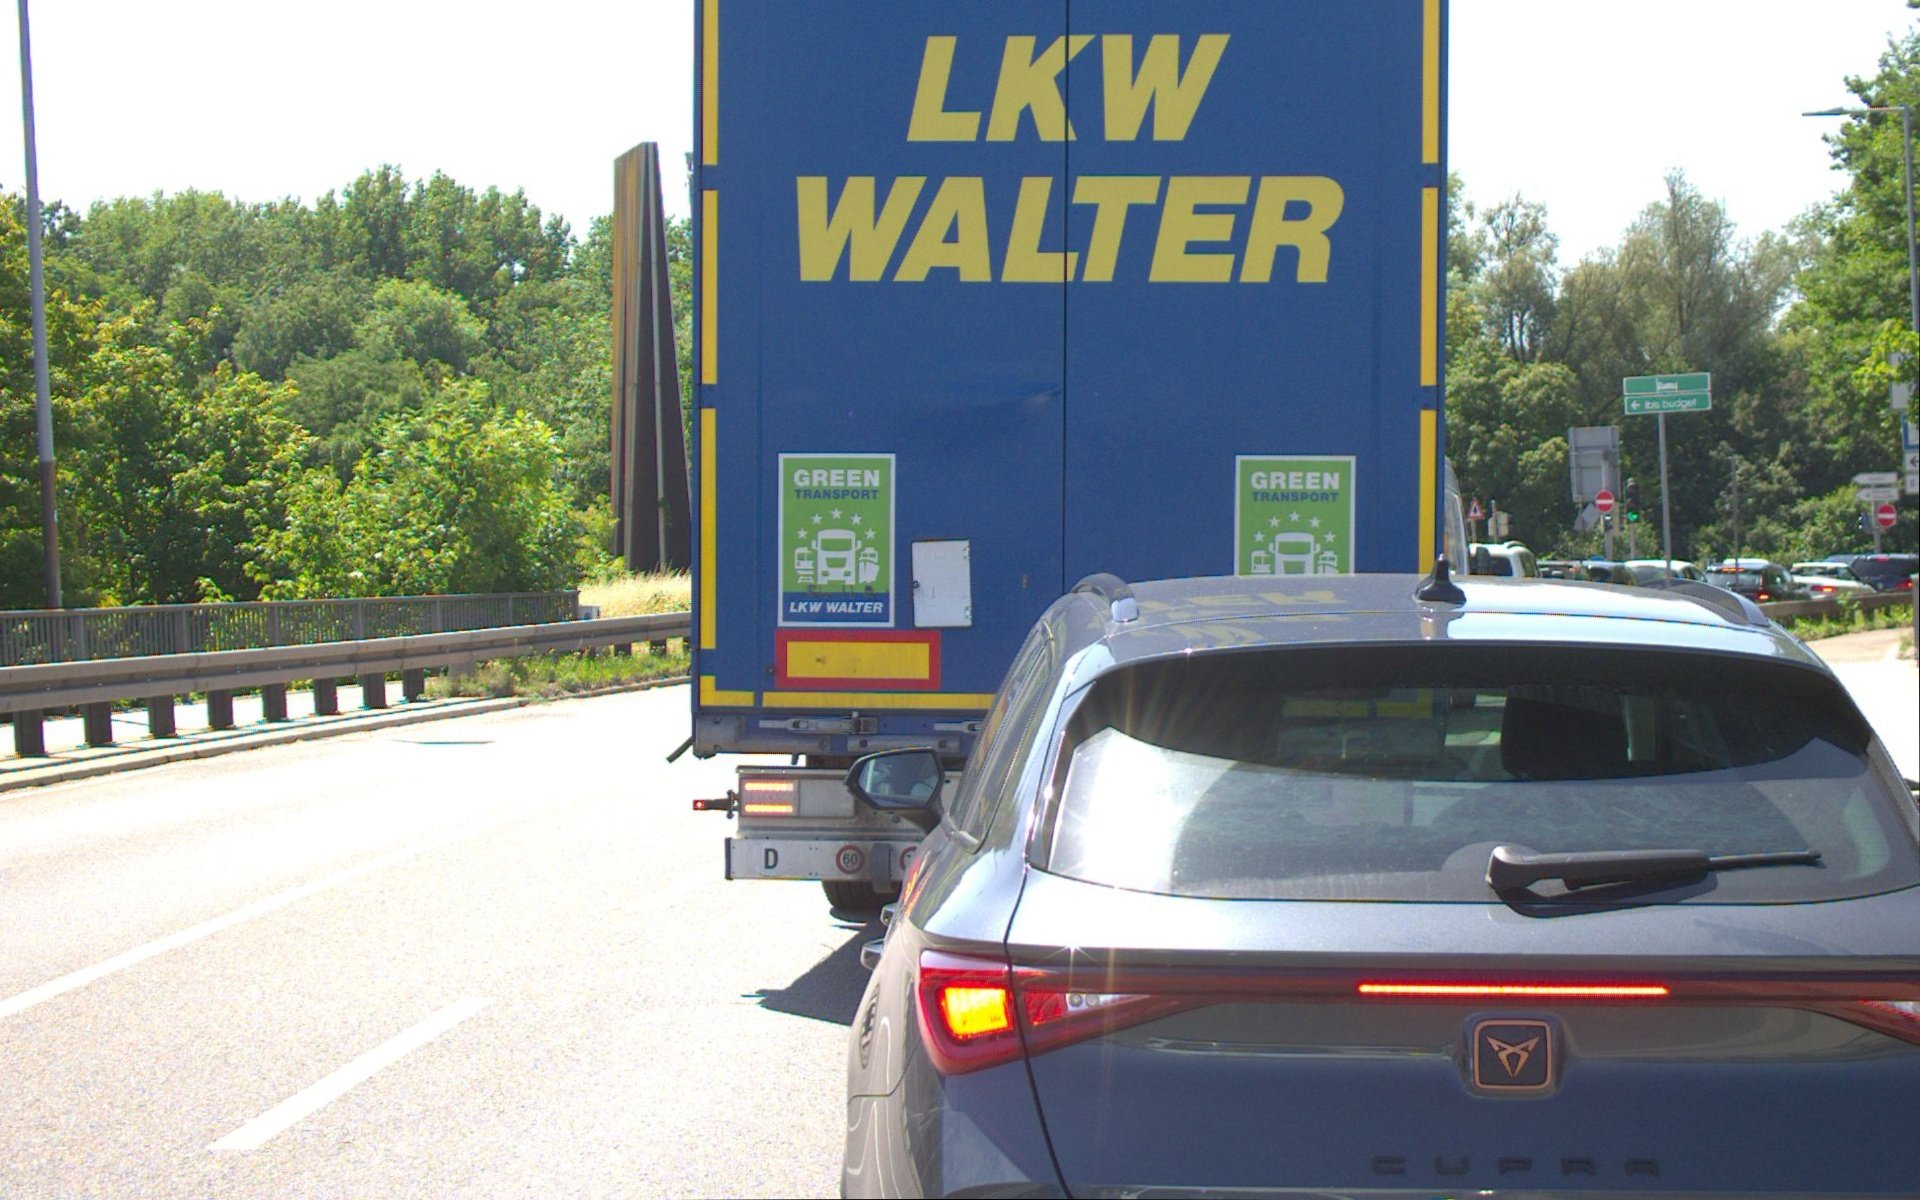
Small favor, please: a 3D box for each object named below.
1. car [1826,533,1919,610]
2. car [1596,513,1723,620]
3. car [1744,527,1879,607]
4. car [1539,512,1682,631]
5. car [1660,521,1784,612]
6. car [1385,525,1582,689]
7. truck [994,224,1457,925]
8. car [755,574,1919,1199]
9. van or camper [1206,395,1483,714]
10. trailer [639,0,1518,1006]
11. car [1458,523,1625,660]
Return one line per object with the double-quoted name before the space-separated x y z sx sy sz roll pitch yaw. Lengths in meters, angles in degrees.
"car" 21.572 -0.660 80.243 1.688 1.754 3.994 0 0 28
"car" 12.541 -0.625 61.495 1.722 1.837 3.996 0 1 19
"car" 18.458 -0.696 74.402 1.996 1.570 3.994 2 0 26
"car" 10.504 -0.491 55.344 1.722 1.837 3.996 0 1 19
"car" 15.123 -0.656 68.147 1.687 1.754 3.995 0 0 23
"car" 6.285 0.034 40.990 1.722 1.837 3.997 0 2 18
"truck" 2.087 -0.227 25.042 2.905 4.403 6.554 0 1 7
"car" 0.663 0.696 5.932 1.677 1.451 3.958 0 1 2
"van or camper" 3.873 -0.463 33.607 2.155 2.806 6.384 0 1 11
"trailer" 1.144 -0.998 17.551 2.905 4.403 12.430 0 1 7
"car" 8.047 -0.159 47.306 1.722 1.796 3.997 0 1 18
